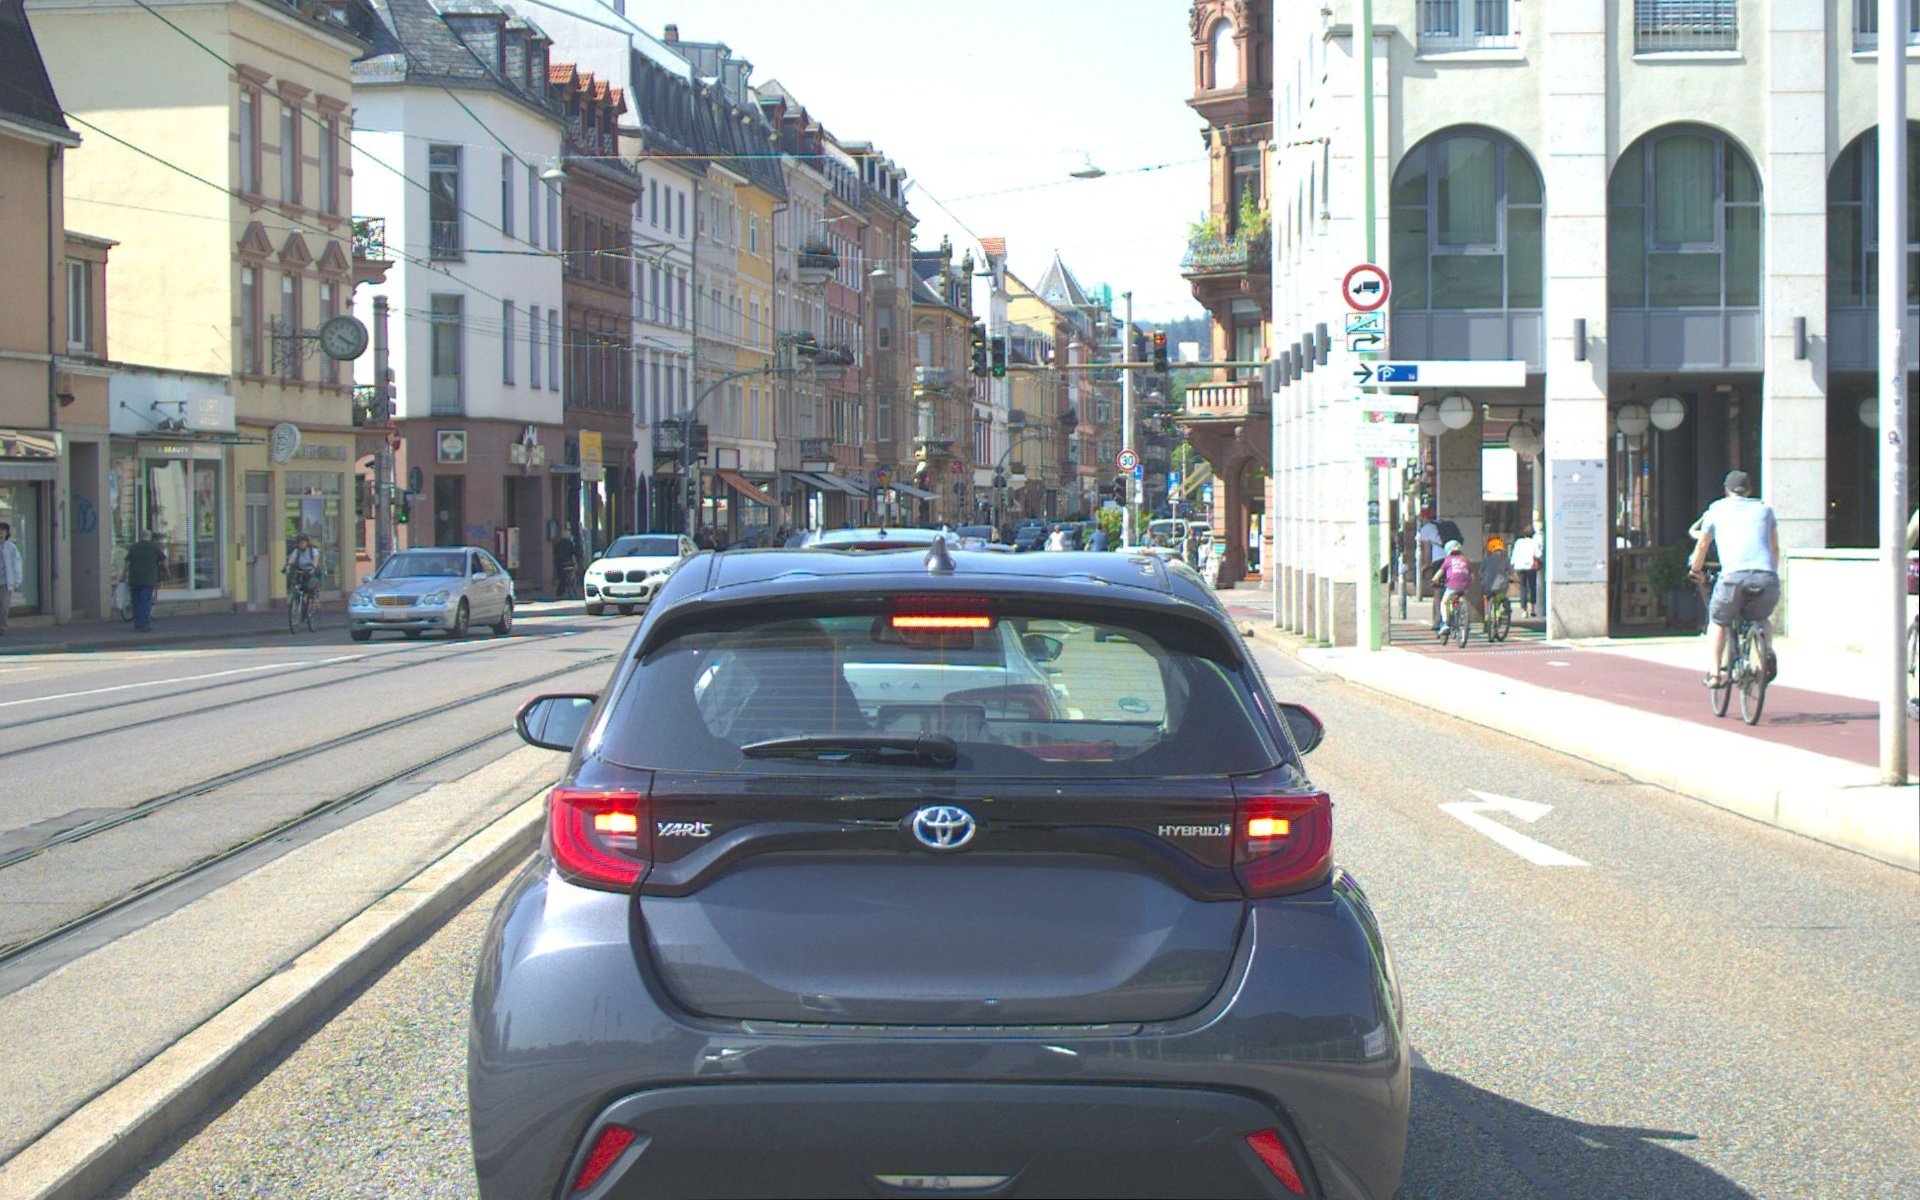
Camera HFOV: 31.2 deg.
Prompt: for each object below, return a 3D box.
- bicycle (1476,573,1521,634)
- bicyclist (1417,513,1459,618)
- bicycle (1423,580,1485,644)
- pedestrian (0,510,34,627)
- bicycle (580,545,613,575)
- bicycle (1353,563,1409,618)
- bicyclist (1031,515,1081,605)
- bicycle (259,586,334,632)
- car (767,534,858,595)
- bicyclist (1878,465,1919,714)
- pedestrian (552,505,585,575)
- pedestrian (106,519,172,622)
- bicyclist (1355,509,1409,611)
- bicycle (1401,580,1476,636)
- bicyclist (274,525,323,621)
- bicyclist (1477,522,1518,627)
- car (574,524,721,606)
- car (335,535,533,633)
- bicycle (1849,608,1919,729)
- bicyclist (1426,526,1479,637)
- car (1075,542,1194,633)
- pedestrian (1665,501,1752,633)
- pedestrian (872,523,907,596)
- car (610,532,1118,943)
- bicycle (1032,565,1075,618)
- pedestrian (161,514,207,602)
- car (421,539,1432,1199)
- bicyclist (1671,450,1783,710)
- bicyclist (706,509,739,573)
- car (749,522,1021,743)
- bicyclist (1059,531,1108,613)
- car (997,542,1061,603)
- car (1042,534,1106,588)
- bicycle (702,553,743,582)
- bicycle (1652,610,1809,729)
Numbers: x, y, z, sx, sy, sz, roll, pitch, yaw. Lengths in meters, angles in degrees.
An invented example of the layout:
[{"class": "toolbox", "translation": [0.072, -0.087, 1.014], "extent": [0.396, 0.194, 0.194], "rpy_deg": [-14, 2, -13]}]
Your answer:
[{"class": "bicycle", "translation": [7.133, 0.042, 45.543], "extent": [0.416, 0.763, 0.962], "rpy_deg": [-2, 1, 0]}, {"class": "bicyclist", "translation": [6.770, -0.495, 48.657], "extent": [0.442, 1.461, 0.484], "rpy_deg": [-2, 1, 22]}, {"class": "bicycle", "translation": [6.287, 0.142, 43.801], "extent": [0.514, 0.763, 1.661], "rpy_deg": [-2, 1, 0]}, {"class": "pedestrian", "translation": [-14.759, -0.494, 52.806], "extent": [0.736, 1.760, 0.787], "rpy_deg": [4, 1, 0]}, {"class": "bicycle", "translation": [-9.312, -1.029, 88.057], "extent": [0.620, 0.713, 1.771], "rpy_deg": [4, 1, -1]}, {"class": "bicycle", "translation": [7.258, -0.167, 59.302], "extent": [0.704, 0.879, 1.525], "rpy_deg": [4, 1, 0]}, {"class": "bicyclist", "translation": [2.775, -1.165, 99.841], "extent": [1.228, 2.520, 1.105], "rpy_deg": [4, 1, -1]}, {"class": "bicycle", "translation": [-11.562, 0.155, 59.987], "extent": [0.620, 0.713, 2.044], "rpy_deg": [2, 2, 9]}, {"class": "car", "translation": [-3.805, -0.921, 89.139], "extent": [1.794, 1.540, 3.920], "rpy_deg": [0, 1, 6]}, {"class": "bicyclist", "translation": [6.588, -0.080, 23.118], "extent": [0.586, 1.645, 0.702], "rpy_deg": [-1, 1, -3]}, {"class": "pedestrian", "translation": [-10.027, -1.538, 88.064], "extent": [0.736, 1.760, 0.787], "rpy_deg": [0, 2, 0]}, {"class": "pedestrian", "translation": [-13.619, -0.484, 57.055], "extent": [0.762, 1.648, 0.711], "rpy_deg": [4, 1, 7]}, {"class": "bicyclist", "translation": [7.292, -0.694, 59.425], "extent": [0.701, 1.689, 0.924], "rpy_deg": [4, 1, 0]}, {"class": "bicycle", "translation": [6.778, 0.112, 48.675], "extent": [0.959, 0.763, 0.417], "rpy_deg": [-1, 1, 22]}, {"class": "bicyclist", "translation": [-11.541, -0.476, 59.991], "extent": [0.627, 1.644, 0.621], "rpy_deg": [2, 2, 8]}, {"class": "bicyclist", "translation": [7.115, -0.338, 45.530], "extent": [0.422, 1.378, 0.443], "rpy_deg": [-2, 1, -1]}, {"class": "car", "translation": [-6.250, -0.715, 69.275], "extent": [1.994, 1.581, 4.651], "rpy_deg": [0, 1, 7]}, {"class": "car", "translation": [-8.086, -0.270, 53.264], "extent": [1.732, 1.455, 4.372], "rpy_deg": [0, 1, 10]}, {"class": "bicycle", "translation": [6.599, 0.457, 23.218], "extent": [0.593, 0.763, 1.867], "rpy_deg": [-1, 1, -3]}, {"class": "bicyclist", "translation": [6.271, -0.239, 43.767], "extent": [0.534, 1.378, 0.669], "rpy_deg": [-2, 1, -1]}, {"class": "car", "translation": [2.951, -0.243, 58.886], "extent": [1.705, 1.461, 4.326], "rpy_deg": [1, 1, -1]}, {"class": "pedestrian", "translation": [9.503, -0.426, 43.668], "extent": [0.739, 1.609, 1.016], "rpy_deg": [4, 1, -1]}, {"class": "pedestrian", "translation": [-2.576, -1.493, 125.680], "extent": [1.051, 2.579, 1.501], "rpy_deg": [4, 1, 0]}, {"class": "car", "translation": [-0.401, 0.482, 15.017], "extent": [1.897, 1.525, 4.000], "rpy_deg": [1, 1, -1]}, {"class": "bicycle", "translation": [2.707, -0.252, 99.908], "extent": [1.112, 1.415, 3.007], "rpy_deg": [4, 1, 1]}, {"class": "pedestrian", "translation": [-14.625, -0.792, 64.824], "extent": [0.649, 1.596, 0.566], "rpy_deg": [4, 3, 0]}, {"class": "car", "translation": [-0.095, 0.618, 7.753], "extent": [1.720, 1.468, 3.658], "rpy_deg": [1, 1, -1]}, {"class": "bicyclist", "translation": [5.459, -0.150, 24.491], "extent": [0.586, 1.814, 0.702], "rpy_deg": [-1, 1, -3]}, {"class": "bicyclist", "translation": [-6.220, -1.555, 90.082], "extent": [0.705, 1.644, 0.621], "rpy_deg": [2, 2, 8]}, {"class": "car", "translation": [-0.568, 0.189, 26.290], "extent": [1.897, 1.525, 4.000], "rpy_deg": [1, 1, -1]}, {"class": "bicyclist", "translation": [3.937, -0.880, 109.201], "extent": [1.228, 2.520, 1.104], "rpy_deg": [4, 1, 11]}, {"class": "car", "translation": [2.482, -0.995, 122.838], "extent": [1.994, 2.007, 4.000], "rpy_deg": [4, 1, 4]}, {"class": "car", "translation": [4.561, -1.553, 137.184], "extent": [1.994, 2.007, 3.999], "rpy_deg": [4, 1, 8]}, {"class": "bicycle", "translation": [-6.217, -0.857, 90.160], "extent": [0.620, 0.713, 2.044], "rpy_deg": [2, 2, 9]}, {"class": "bicycle", "translation": [5.471, 0.476, 24.511], "extent": [0.593, 0.763, 1.867], "rpy_deg": [-1, 1, -3]}]
